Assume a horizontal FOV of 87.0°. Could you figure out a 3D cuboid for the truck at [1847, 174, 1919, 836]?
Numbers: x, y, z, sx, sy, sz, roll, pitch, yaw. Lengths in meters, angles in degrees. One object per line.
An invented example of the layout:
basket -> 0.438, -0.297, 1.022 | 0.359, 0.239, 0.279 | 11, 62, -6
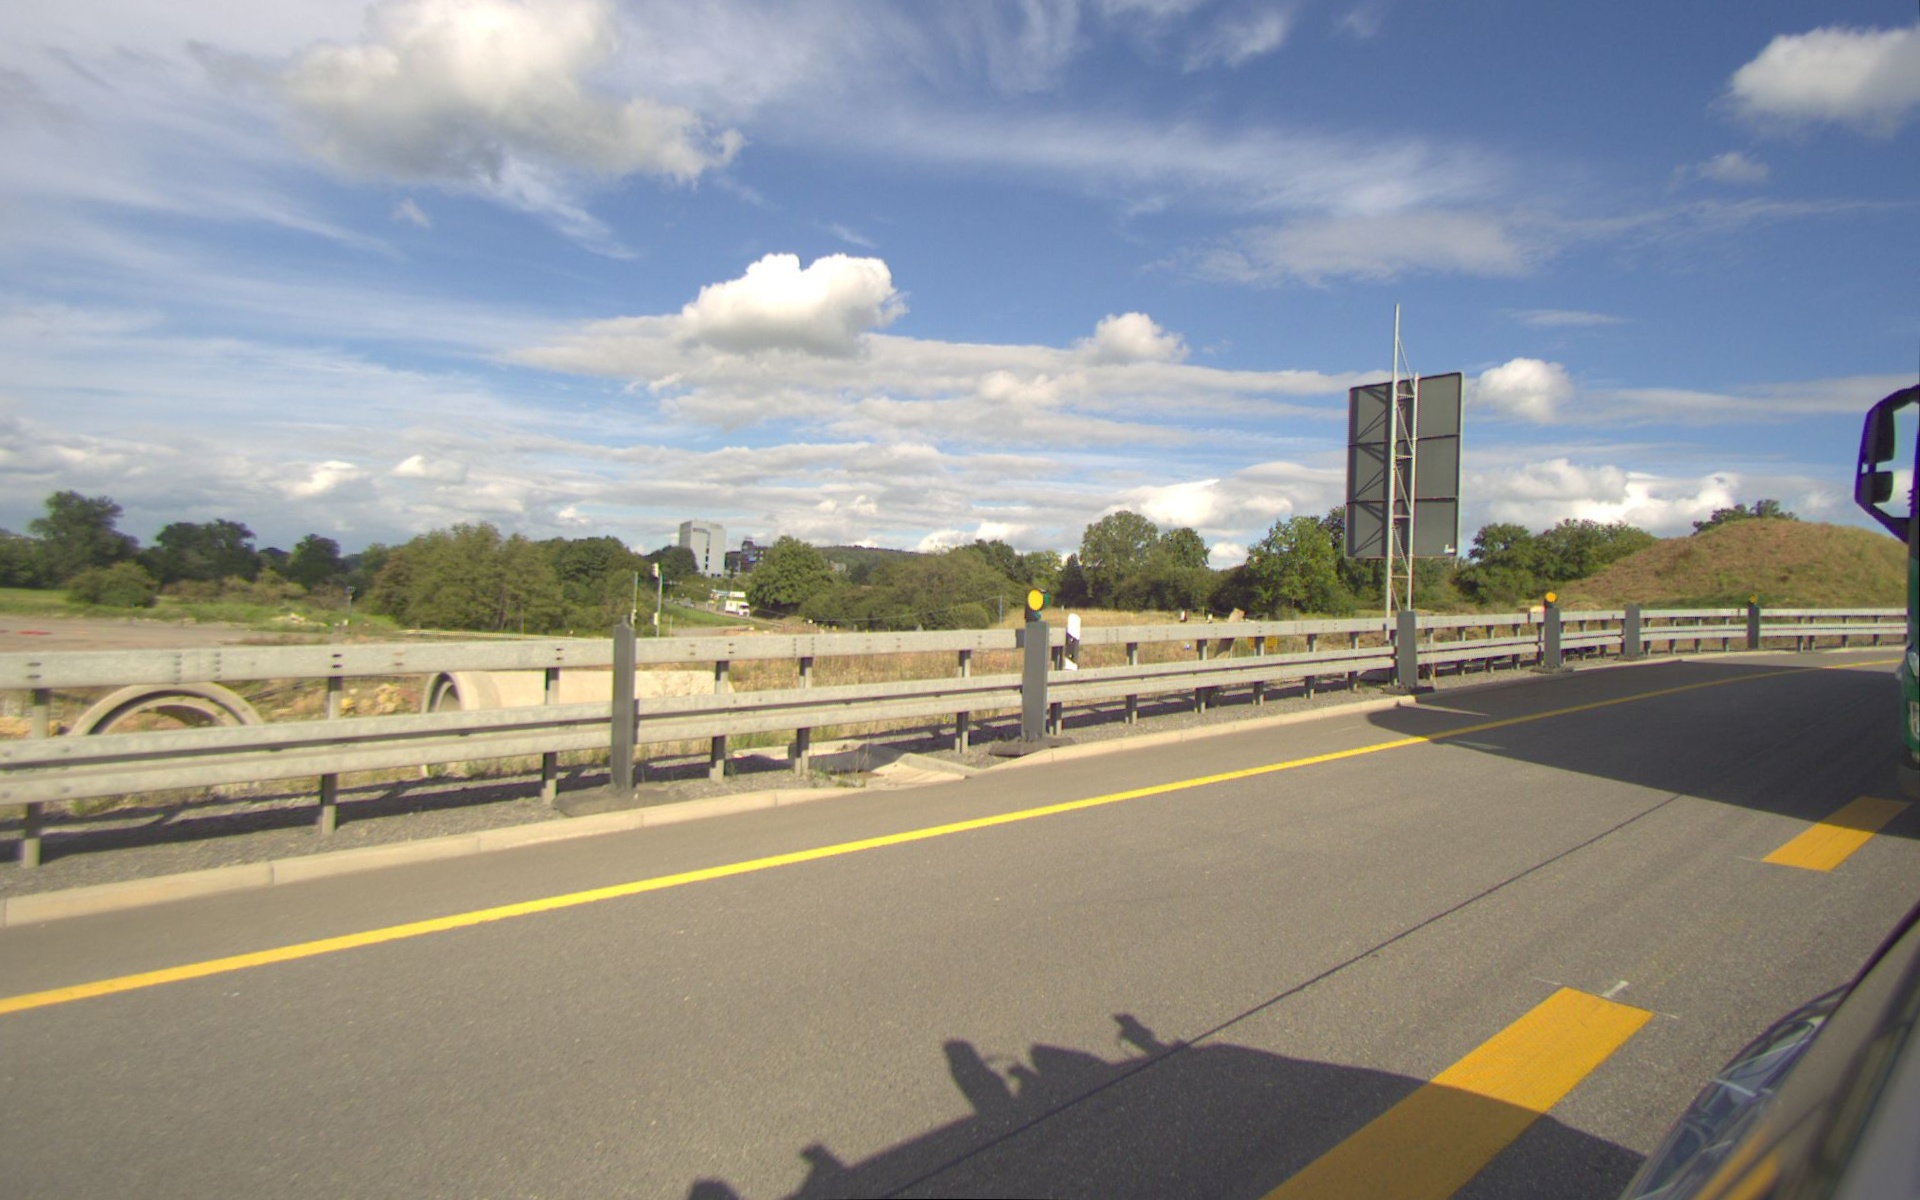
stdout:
truck -> 10.176, -0.669, 8.422 | 10.135, 3.895, 2.662 | -2, 1, -40
